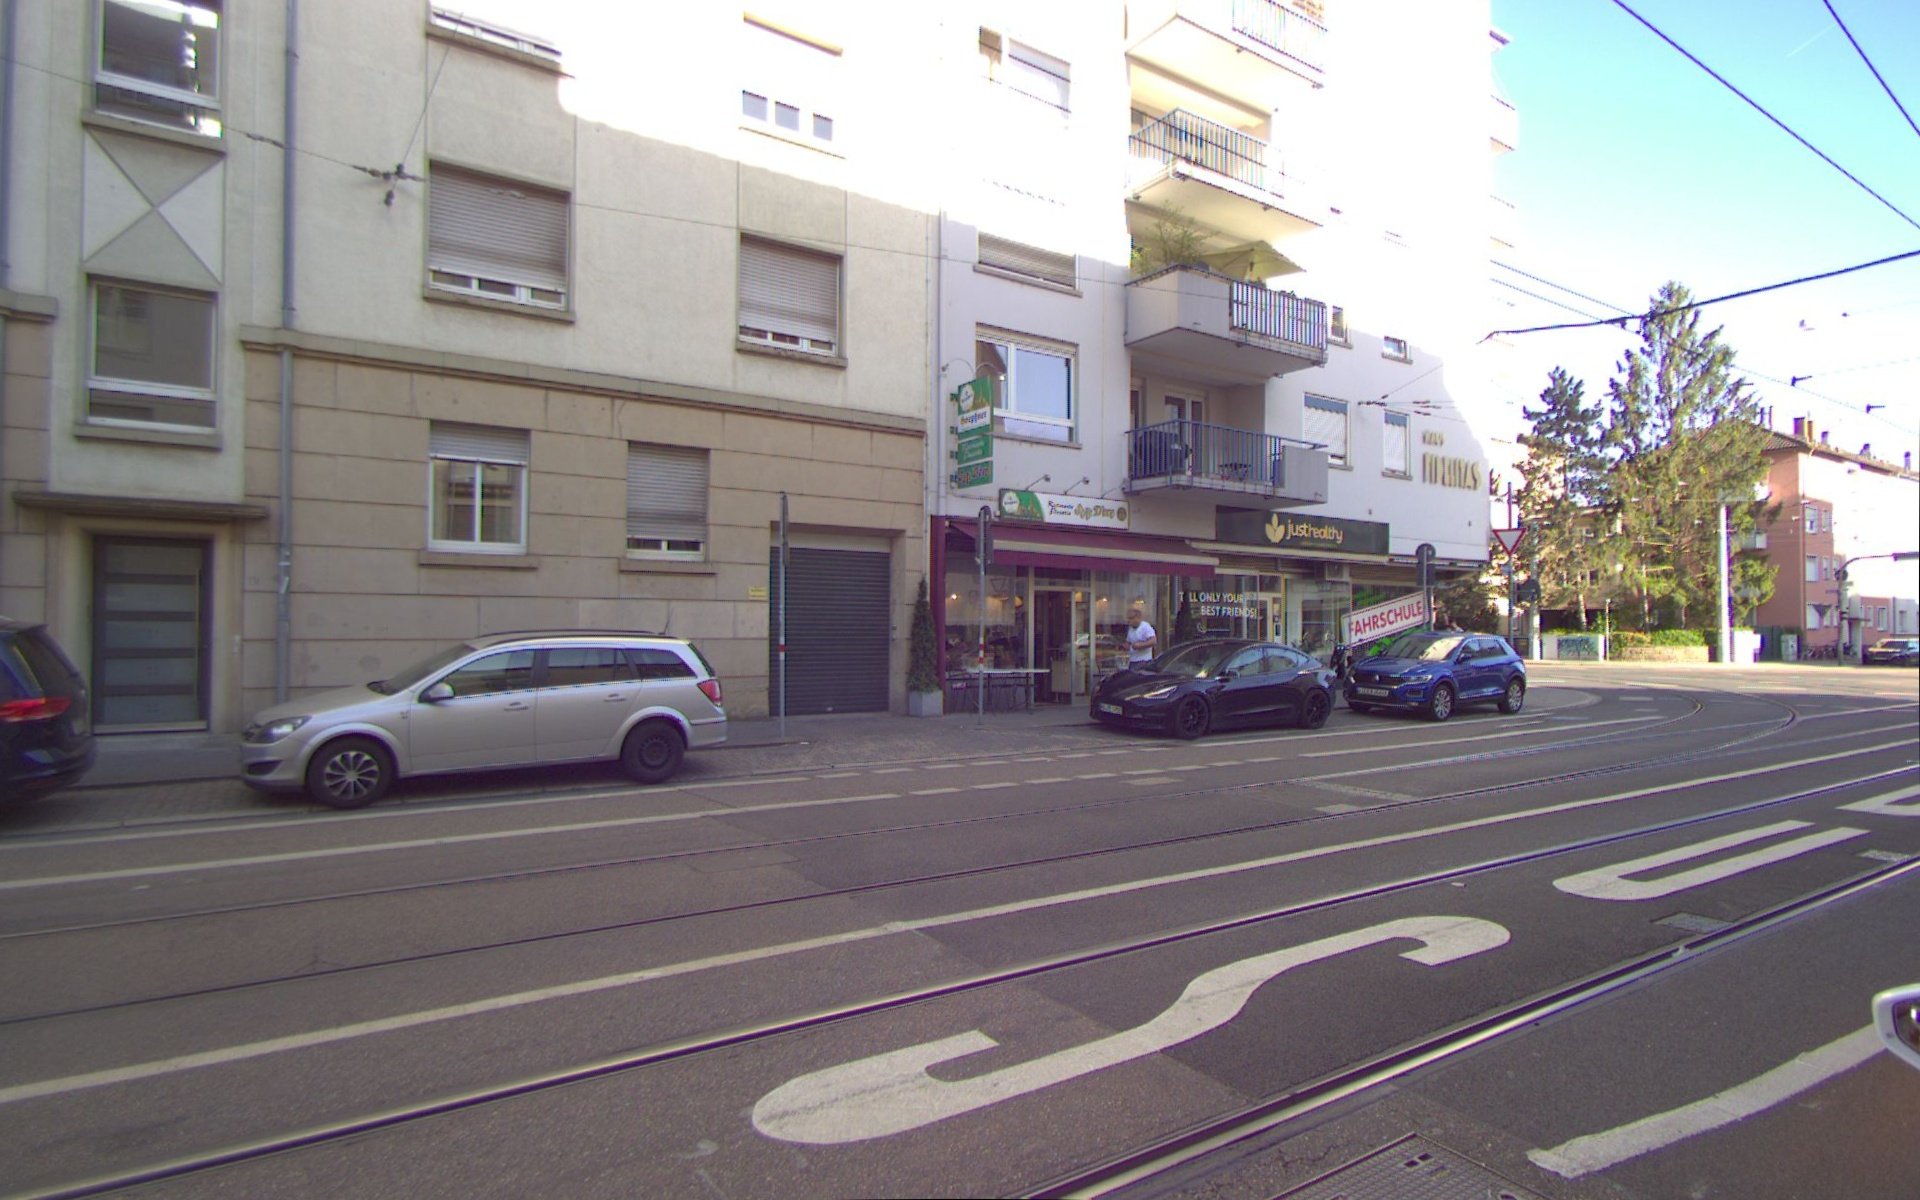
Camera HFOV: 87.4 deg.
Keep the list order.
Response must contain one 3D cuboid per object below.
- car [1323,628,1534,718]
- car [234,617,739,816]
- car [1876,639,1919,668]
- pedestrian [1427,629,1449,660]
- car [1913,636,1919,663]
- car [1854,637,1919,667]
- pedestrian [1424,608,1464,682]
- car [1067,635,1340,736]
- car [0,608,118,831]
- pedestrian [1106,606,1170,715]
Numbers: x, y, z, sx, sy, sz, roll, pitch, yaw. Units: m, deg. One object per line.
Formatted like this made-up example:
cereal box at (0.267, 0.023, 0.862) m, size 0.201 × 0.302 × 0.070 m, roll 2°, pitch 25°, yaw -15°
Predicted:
car at (8.956, 1.312, 19.112) m, size 4.030 × 1.552 × 1.858 m, roll 1°, pitch -2°, yaw -34°
car at (-4.703, 1.033, 10.310) m, size 4.319 × 1.580 × 1.981 m, roll 2°, pitch 0°, yaw -34°
car at (53.360, 2.982, 56.292) m, size 4.250 × 1.518 × 1.806 m, roll 2°, pitch 0°, yaw -30°
pedestrian at (28.802, 2.676, 60.526) m, size 0.800 × 1.815 × 0.893 m, roll 2°, pitch 0°, yaw -40°
car at (58.289, 2.969, 59.414) m, size 4.103 × 1.531 × 1.778 m, roll 2°, pitch 0°, yaw -31°
car at (49.608, 2.769, 53.562) m, size 3.949 × 1.440 × 1.784 m, roll 2°, pitch 0°, yaw -31°
pedestrian at (13.762, 1.275, 28.567) m, size 0.688 × 2.040 × 0.764 m, roll 2°, pitch 0°, yaw -35°
car at (3.971, 1.274, 16.135) m, size 4.382 × 1.405 × 1.810 m, roll 1°, pitch -2°, yaw -34°
car at (-8.993, 0.845, 7.243) m, size 4.249 × 1.606 × 1.893 m, roll 2°, pitch 0°, yaw -35°
pedestrian at (3.102, 1.037, 17.489) m, size 0.802 × 1.827 × 0.689 m, roll 2°, pitch 0°, yaw -30°
